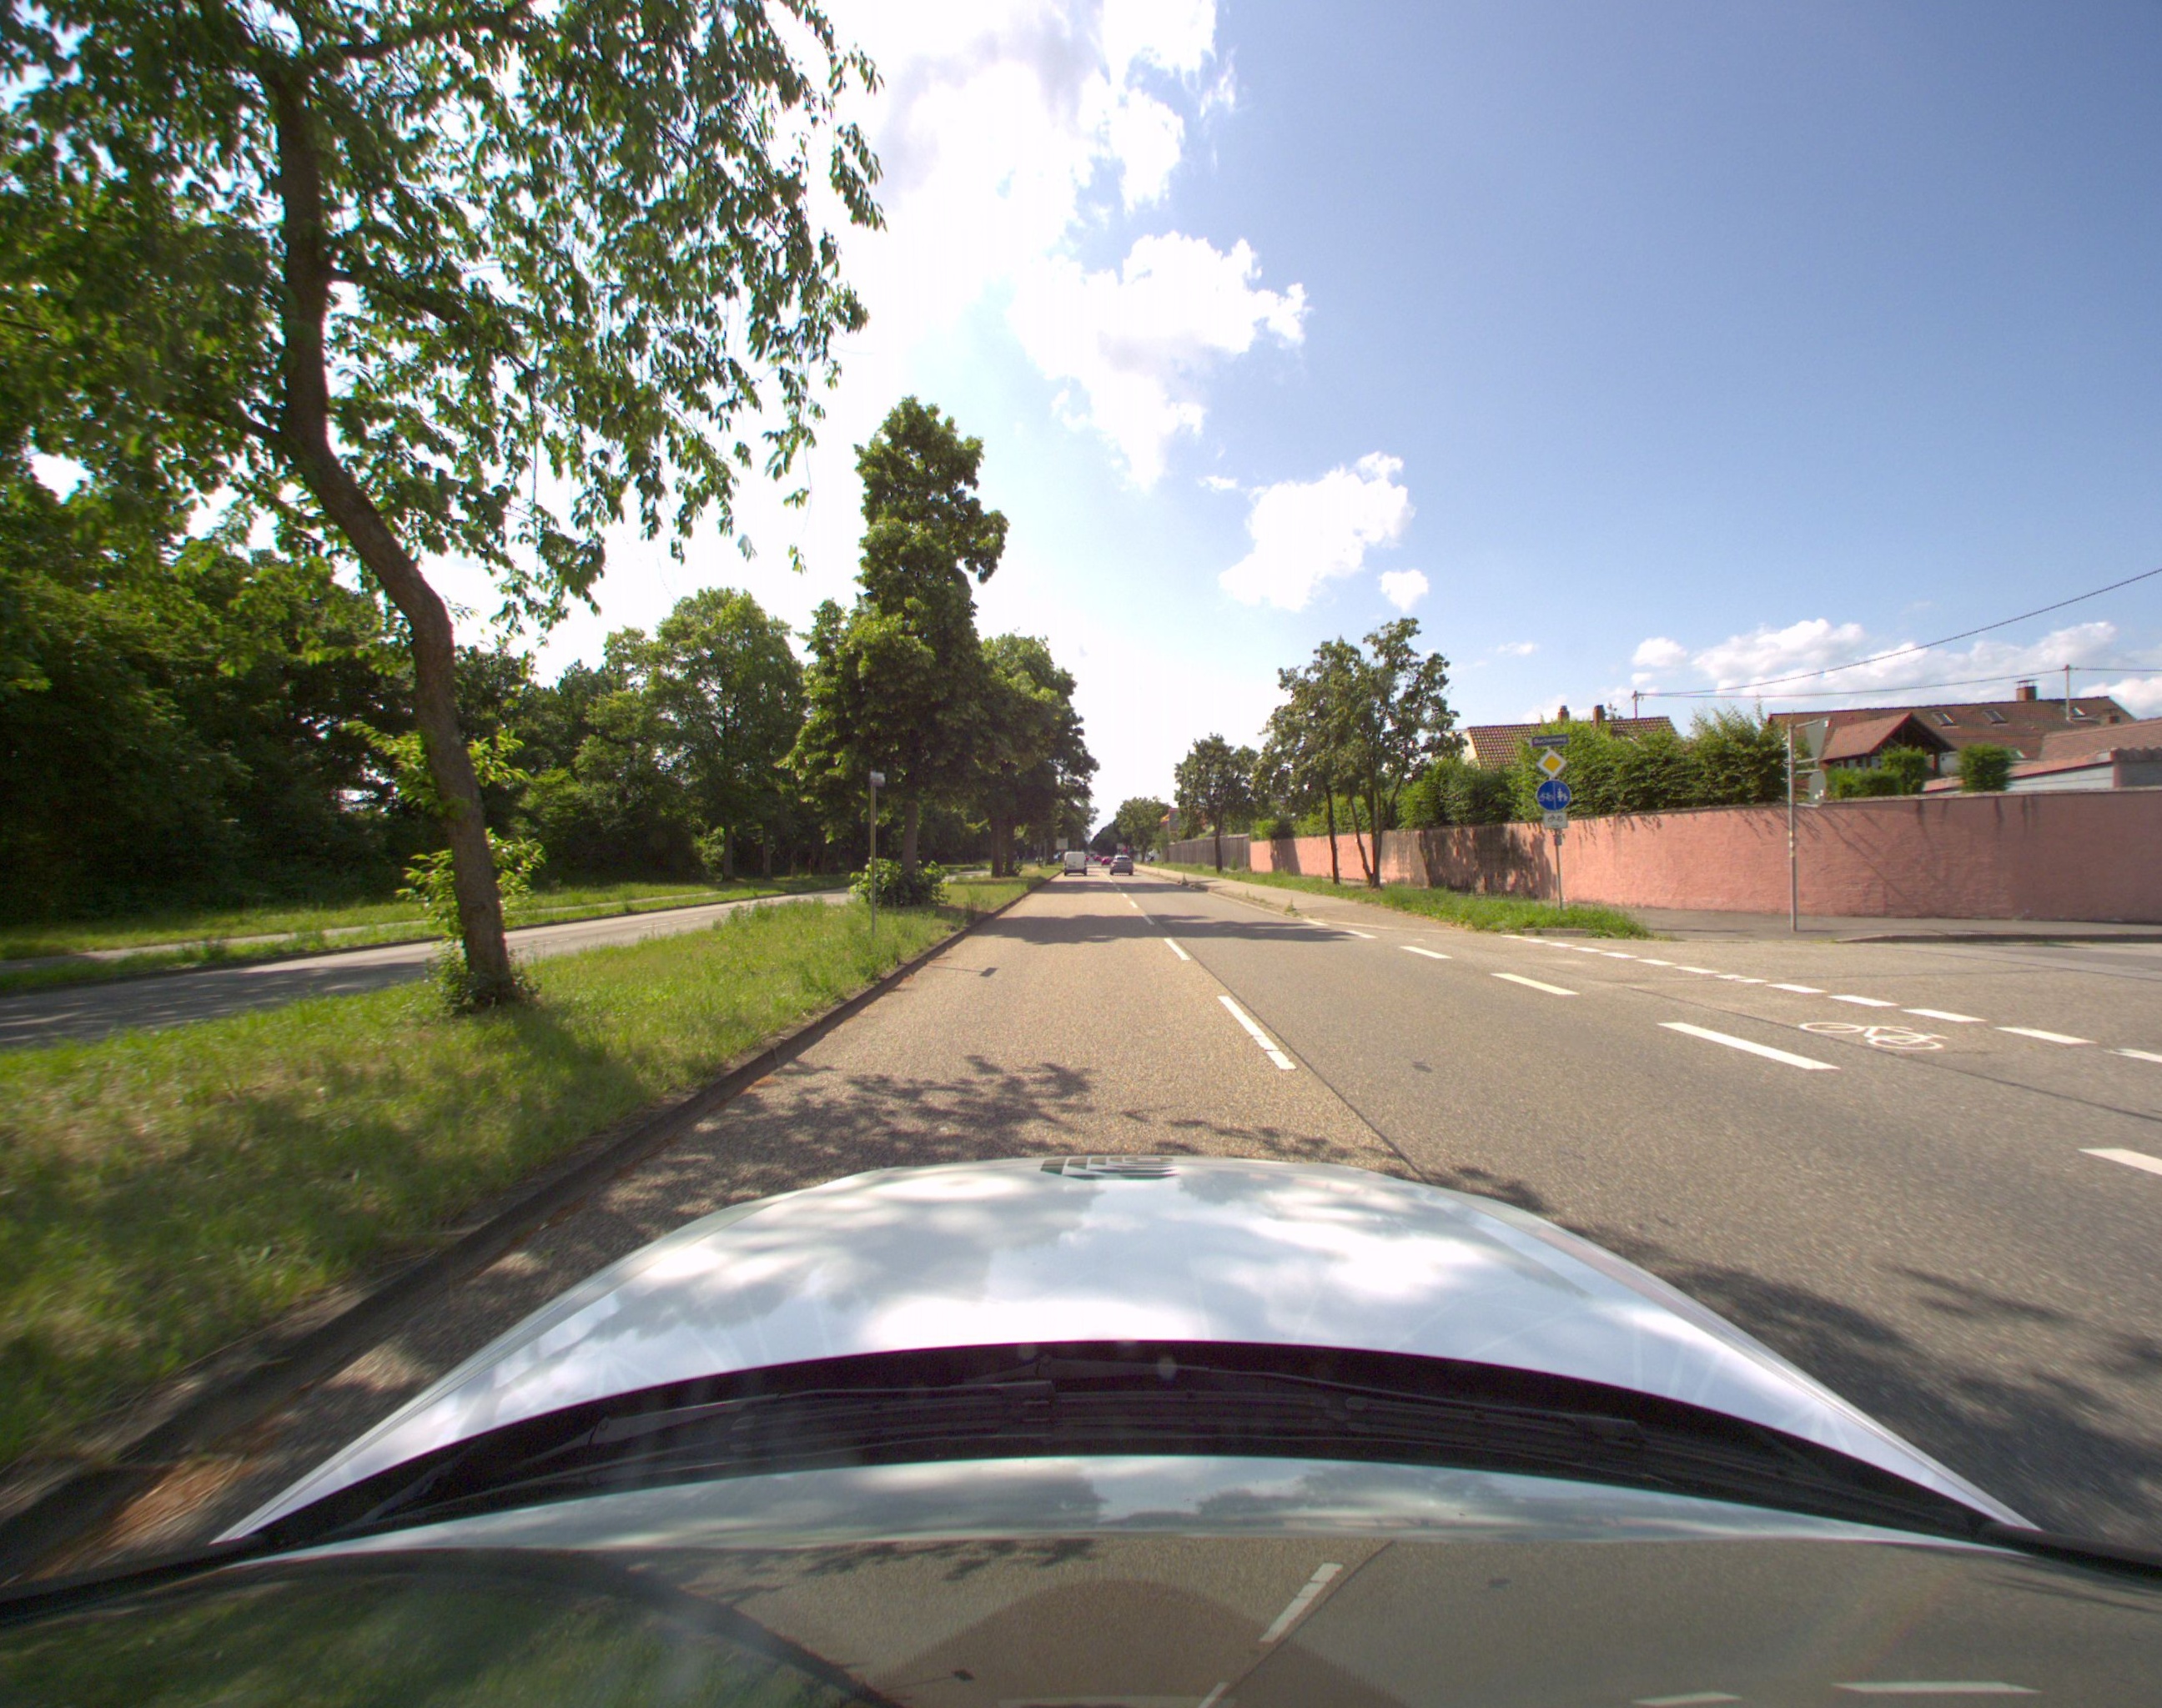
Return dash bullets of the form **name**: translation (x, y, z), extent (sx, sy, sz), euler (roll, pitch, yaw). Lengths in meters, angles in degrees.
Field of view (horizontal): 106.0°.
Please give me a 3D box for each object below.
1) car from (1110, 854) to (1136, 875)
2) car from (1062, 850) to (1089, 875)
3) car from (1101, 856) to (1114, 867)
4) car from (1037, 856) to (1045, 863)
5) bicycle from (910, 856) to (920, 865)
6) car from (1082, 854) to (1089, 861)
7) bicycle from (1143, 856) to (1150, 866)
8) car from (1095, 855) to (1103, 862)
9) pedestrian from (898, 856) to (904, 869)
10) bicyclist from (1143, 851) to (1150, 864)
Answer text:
- **car**: translation (3.321, 0.838, 64.940), extent (1.869, 1.589, 4.185), euler (-1, 0, 1)
- **car**: translation (-0.410, 0.622, 64.052), extent (2.059, 1.912, 4.646), euler (-1, 0, 0)
- **car**: translation (4.035, 1.143, 125.632), extent (1.874, 1.587, 4.000), euler (-1, 0, 0)
- **car**: translation (-10.769, 1.412, 218.404), extent (1.987, 1.705, 4.193), euler (-1, 0, 1)
- **bicycle**: translation (-17.983, 0.709, 88.162), extent (0.615, 0.878, 1.916), euler (-1, 0, 3)
- **car**: translation (1.223, 0.999, 218.399), extent (1.934, 1.768, 4.146), euler (-1, 0, 1)
- **bicycle**: translation (7.530, 0.823, 93.700), extent (0.643, 1.067, 2.279), euler (-3, 0, 1)
- **car**: translation (4.670, 1.262, 215.769), extent (1.987, 1.772, 4.147), euler (0, 0, 0)
- **pedestrian**: translation (-23.741, 1.124, 107.241), extent (0.642, 1.630, 0.656), euler (0, 0, 1)
- **bicyclist**: translation (7.509, 0.408, 93.763), extent (0.652, 1.412, 0.987), euler (-3, 0, 1)
